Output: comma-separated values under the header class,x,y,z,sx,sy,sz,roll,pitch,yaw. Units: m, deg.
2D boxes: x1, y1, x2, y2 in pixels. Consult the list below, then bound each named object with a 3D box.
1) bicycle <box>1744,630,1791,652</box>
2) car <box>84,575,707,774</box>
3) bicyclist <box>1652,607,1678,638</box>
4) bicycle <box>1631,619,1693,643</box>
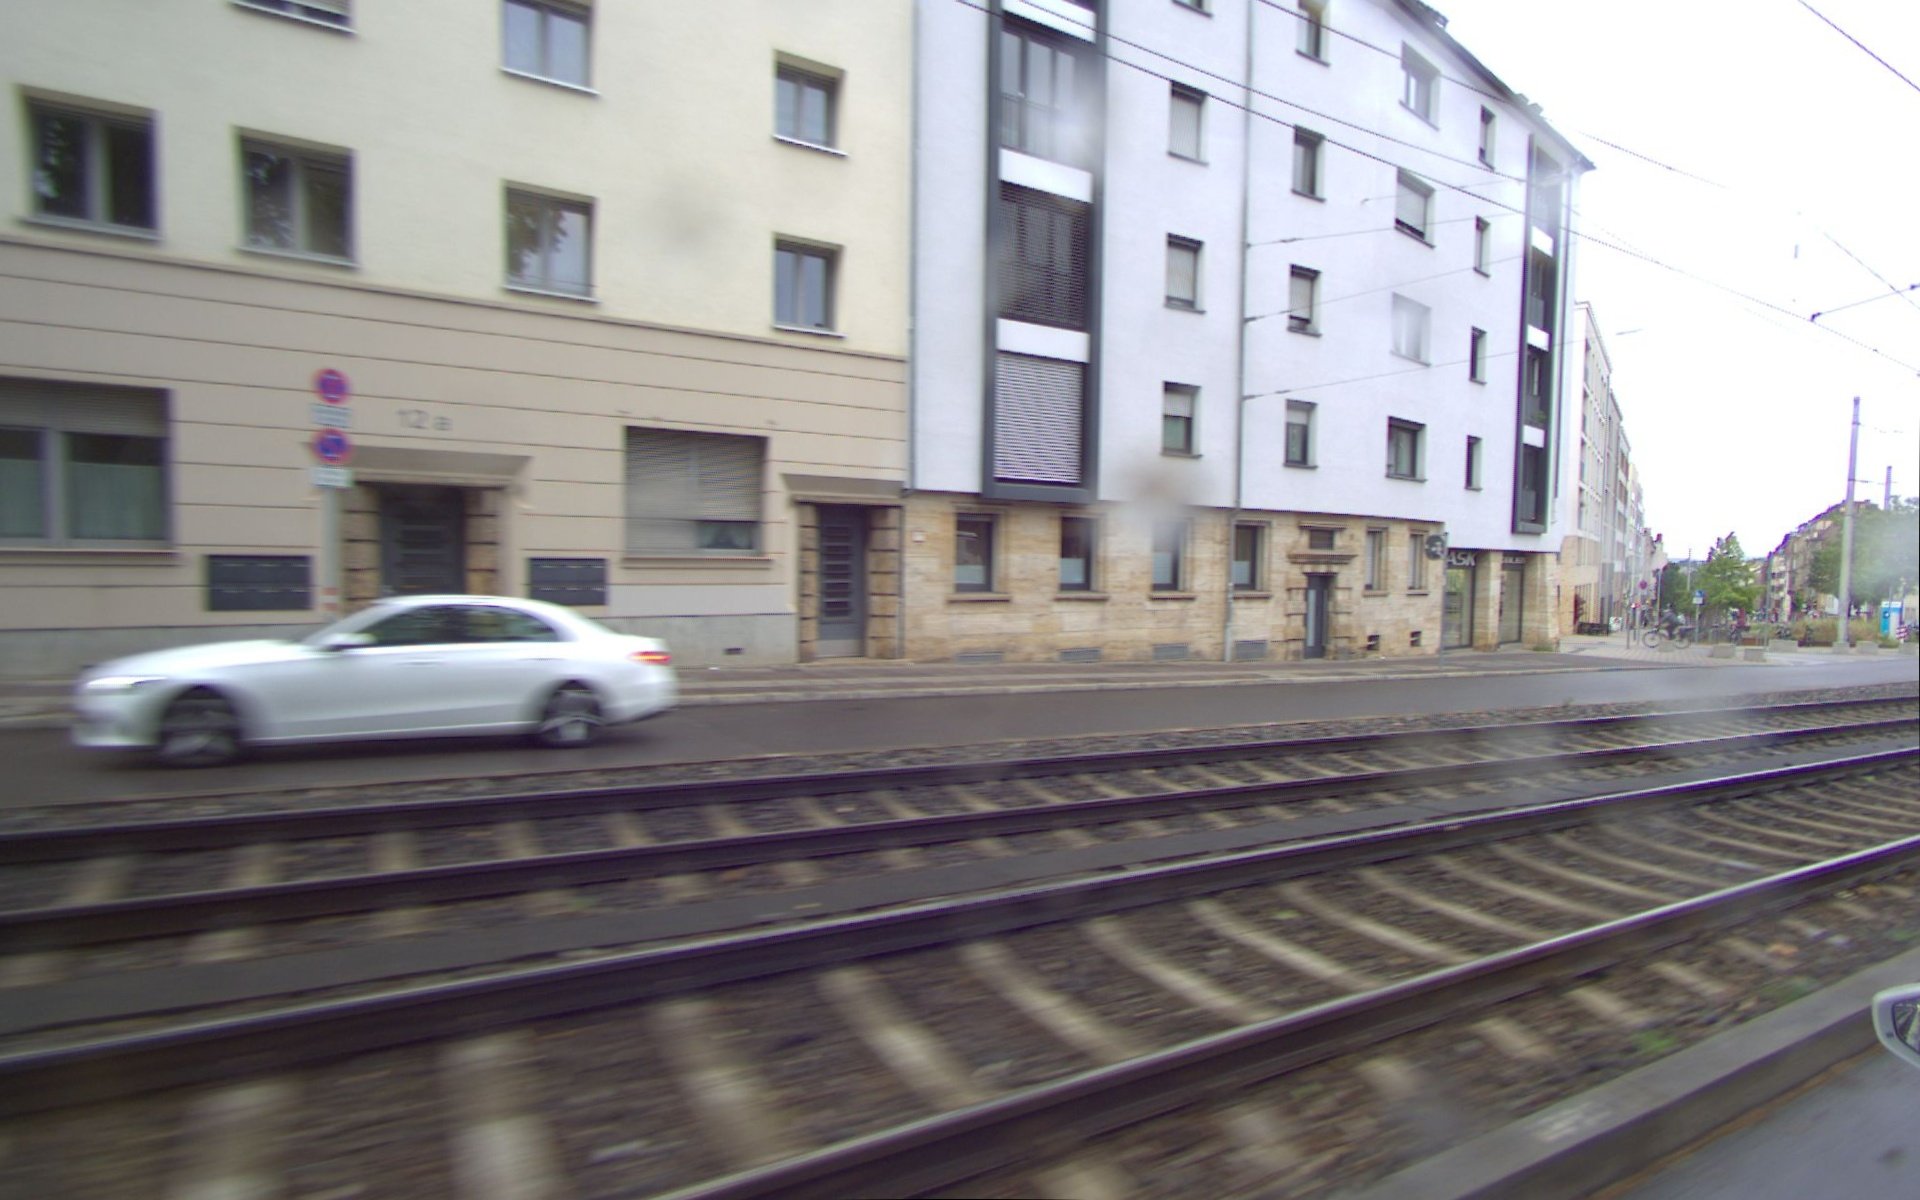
class,x,y,z,sx,sy,sz,roll,pitch,yaw
bicycle,42.265,2.139,52.605,0.564,1.075,1.802,1,1,-33
car,-5.066,0.609,9.663,4.786,1.502,1.789,2,1,-32
bicyclist,30.706,0.969,43.758,0.759,1.331,0.791,1,0,22
bicycle,30.617,1.345,43.828,2.064,0.955,0.815,1,0,21
